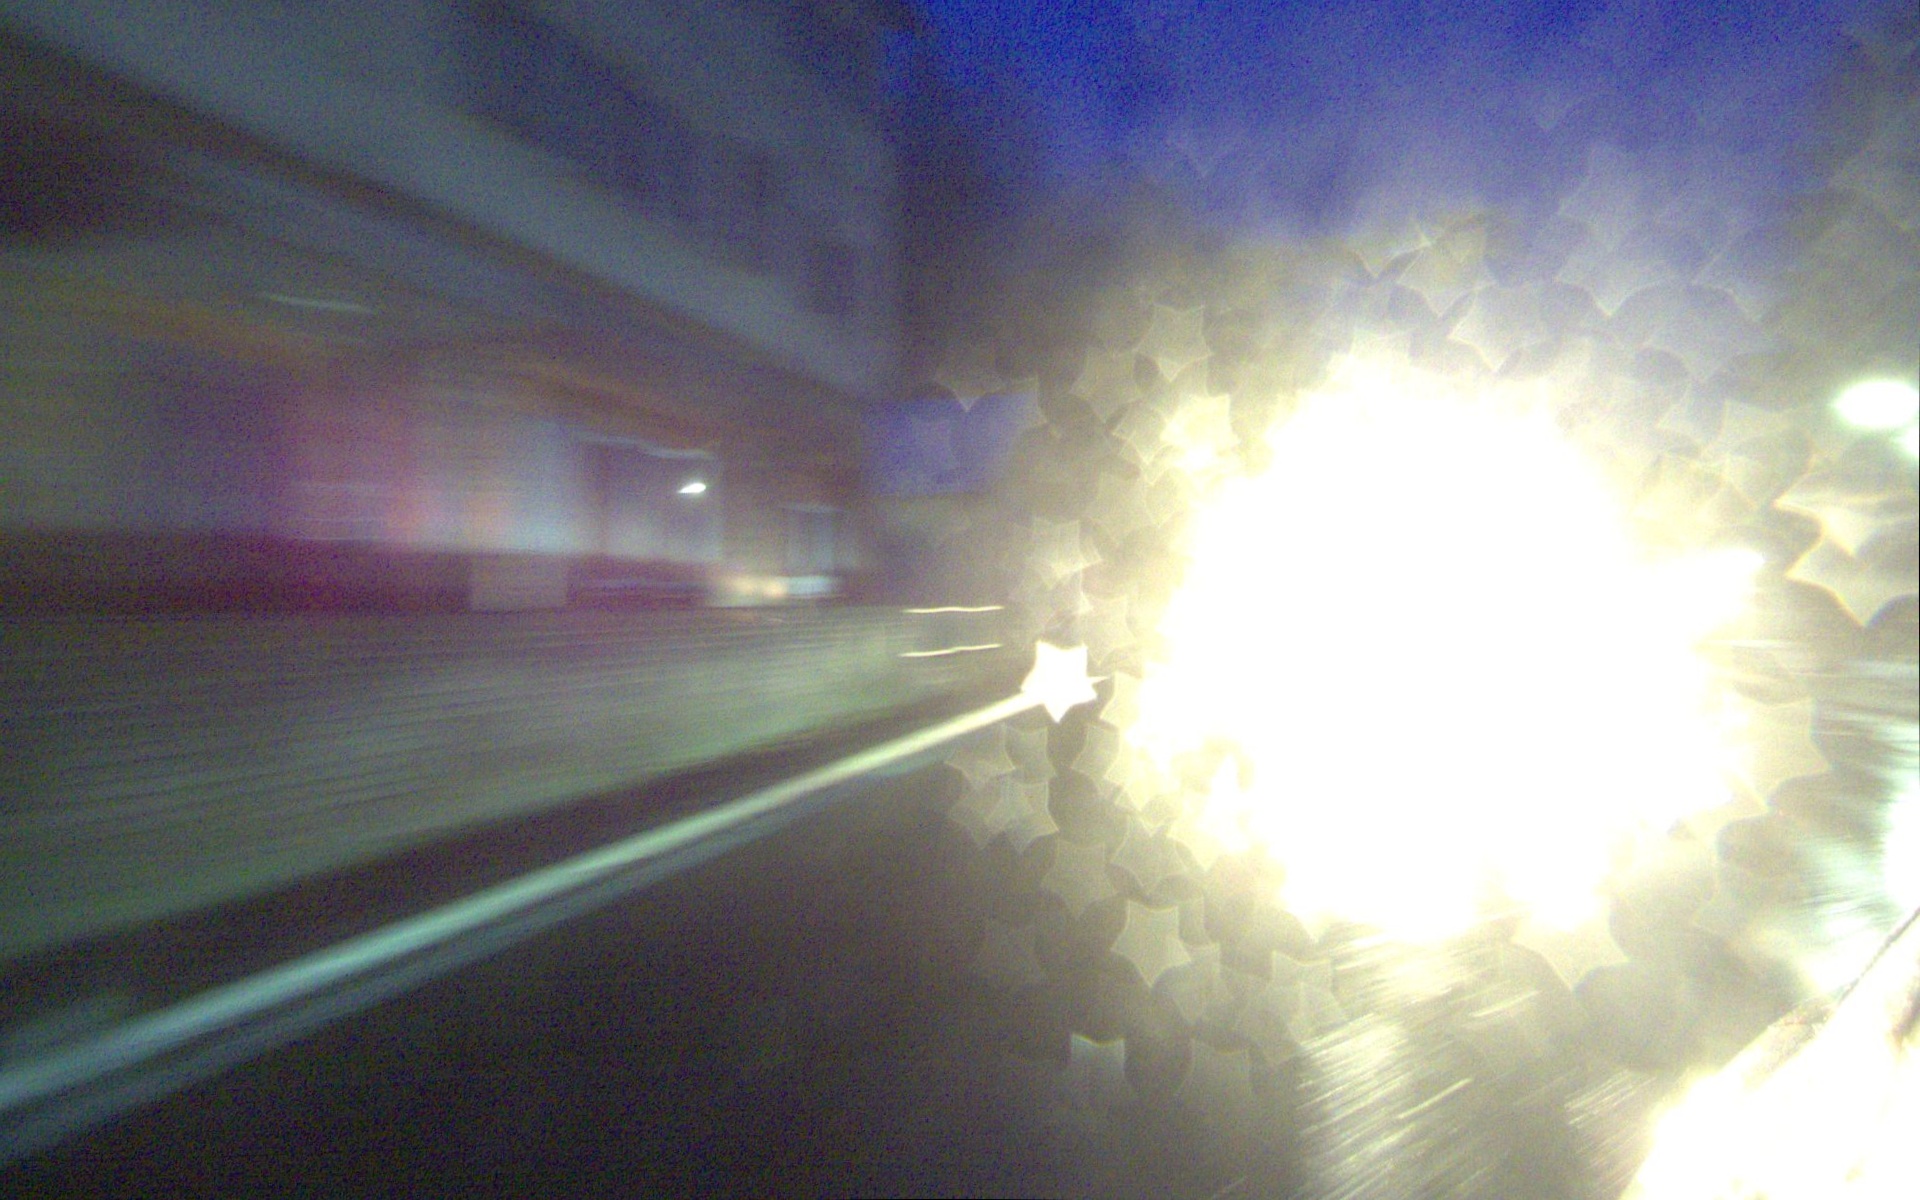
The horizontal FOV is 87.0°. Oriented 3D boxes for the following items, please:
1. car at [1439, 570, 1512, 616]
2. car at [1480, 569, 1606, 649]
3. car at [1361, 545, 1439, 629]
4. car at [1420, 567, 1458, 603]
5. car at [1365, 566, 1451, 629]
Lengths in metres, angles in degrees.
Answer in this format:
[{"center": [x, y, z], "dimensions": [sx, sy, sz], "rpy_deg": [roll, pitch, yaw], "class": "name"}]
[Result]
[{"center": [19.036, -0.302, 37.525], "dimensions": [1.893, 1.529, 4.213], "rpy_deg": [2, 3, 21], "class": "car"}, {"center": [14.168, 0.164, 24.843], "dimensions": [2.041, 1.698, 4.108], "rpy_deg": [3, 2, 22], "class": "car"}, {"center": [14.154, -0.347, 32.701], "dimensions": [2.150, 2.473, 4.821], "rpy_deg": [0, -2, 23], "class": "car"}, {"center": [28.219, -0.880, 59.725], "dimensions": [1.758, 1.971, 4.220], "rpy_deg": [3, 2, 23], "class": "car"}, {"center": [11.924, -0.007, 27.146], "dimensions": [1.958, 1.536, 4.173], "rpy_deg": [1, -2, 22], "class": "car"}]
